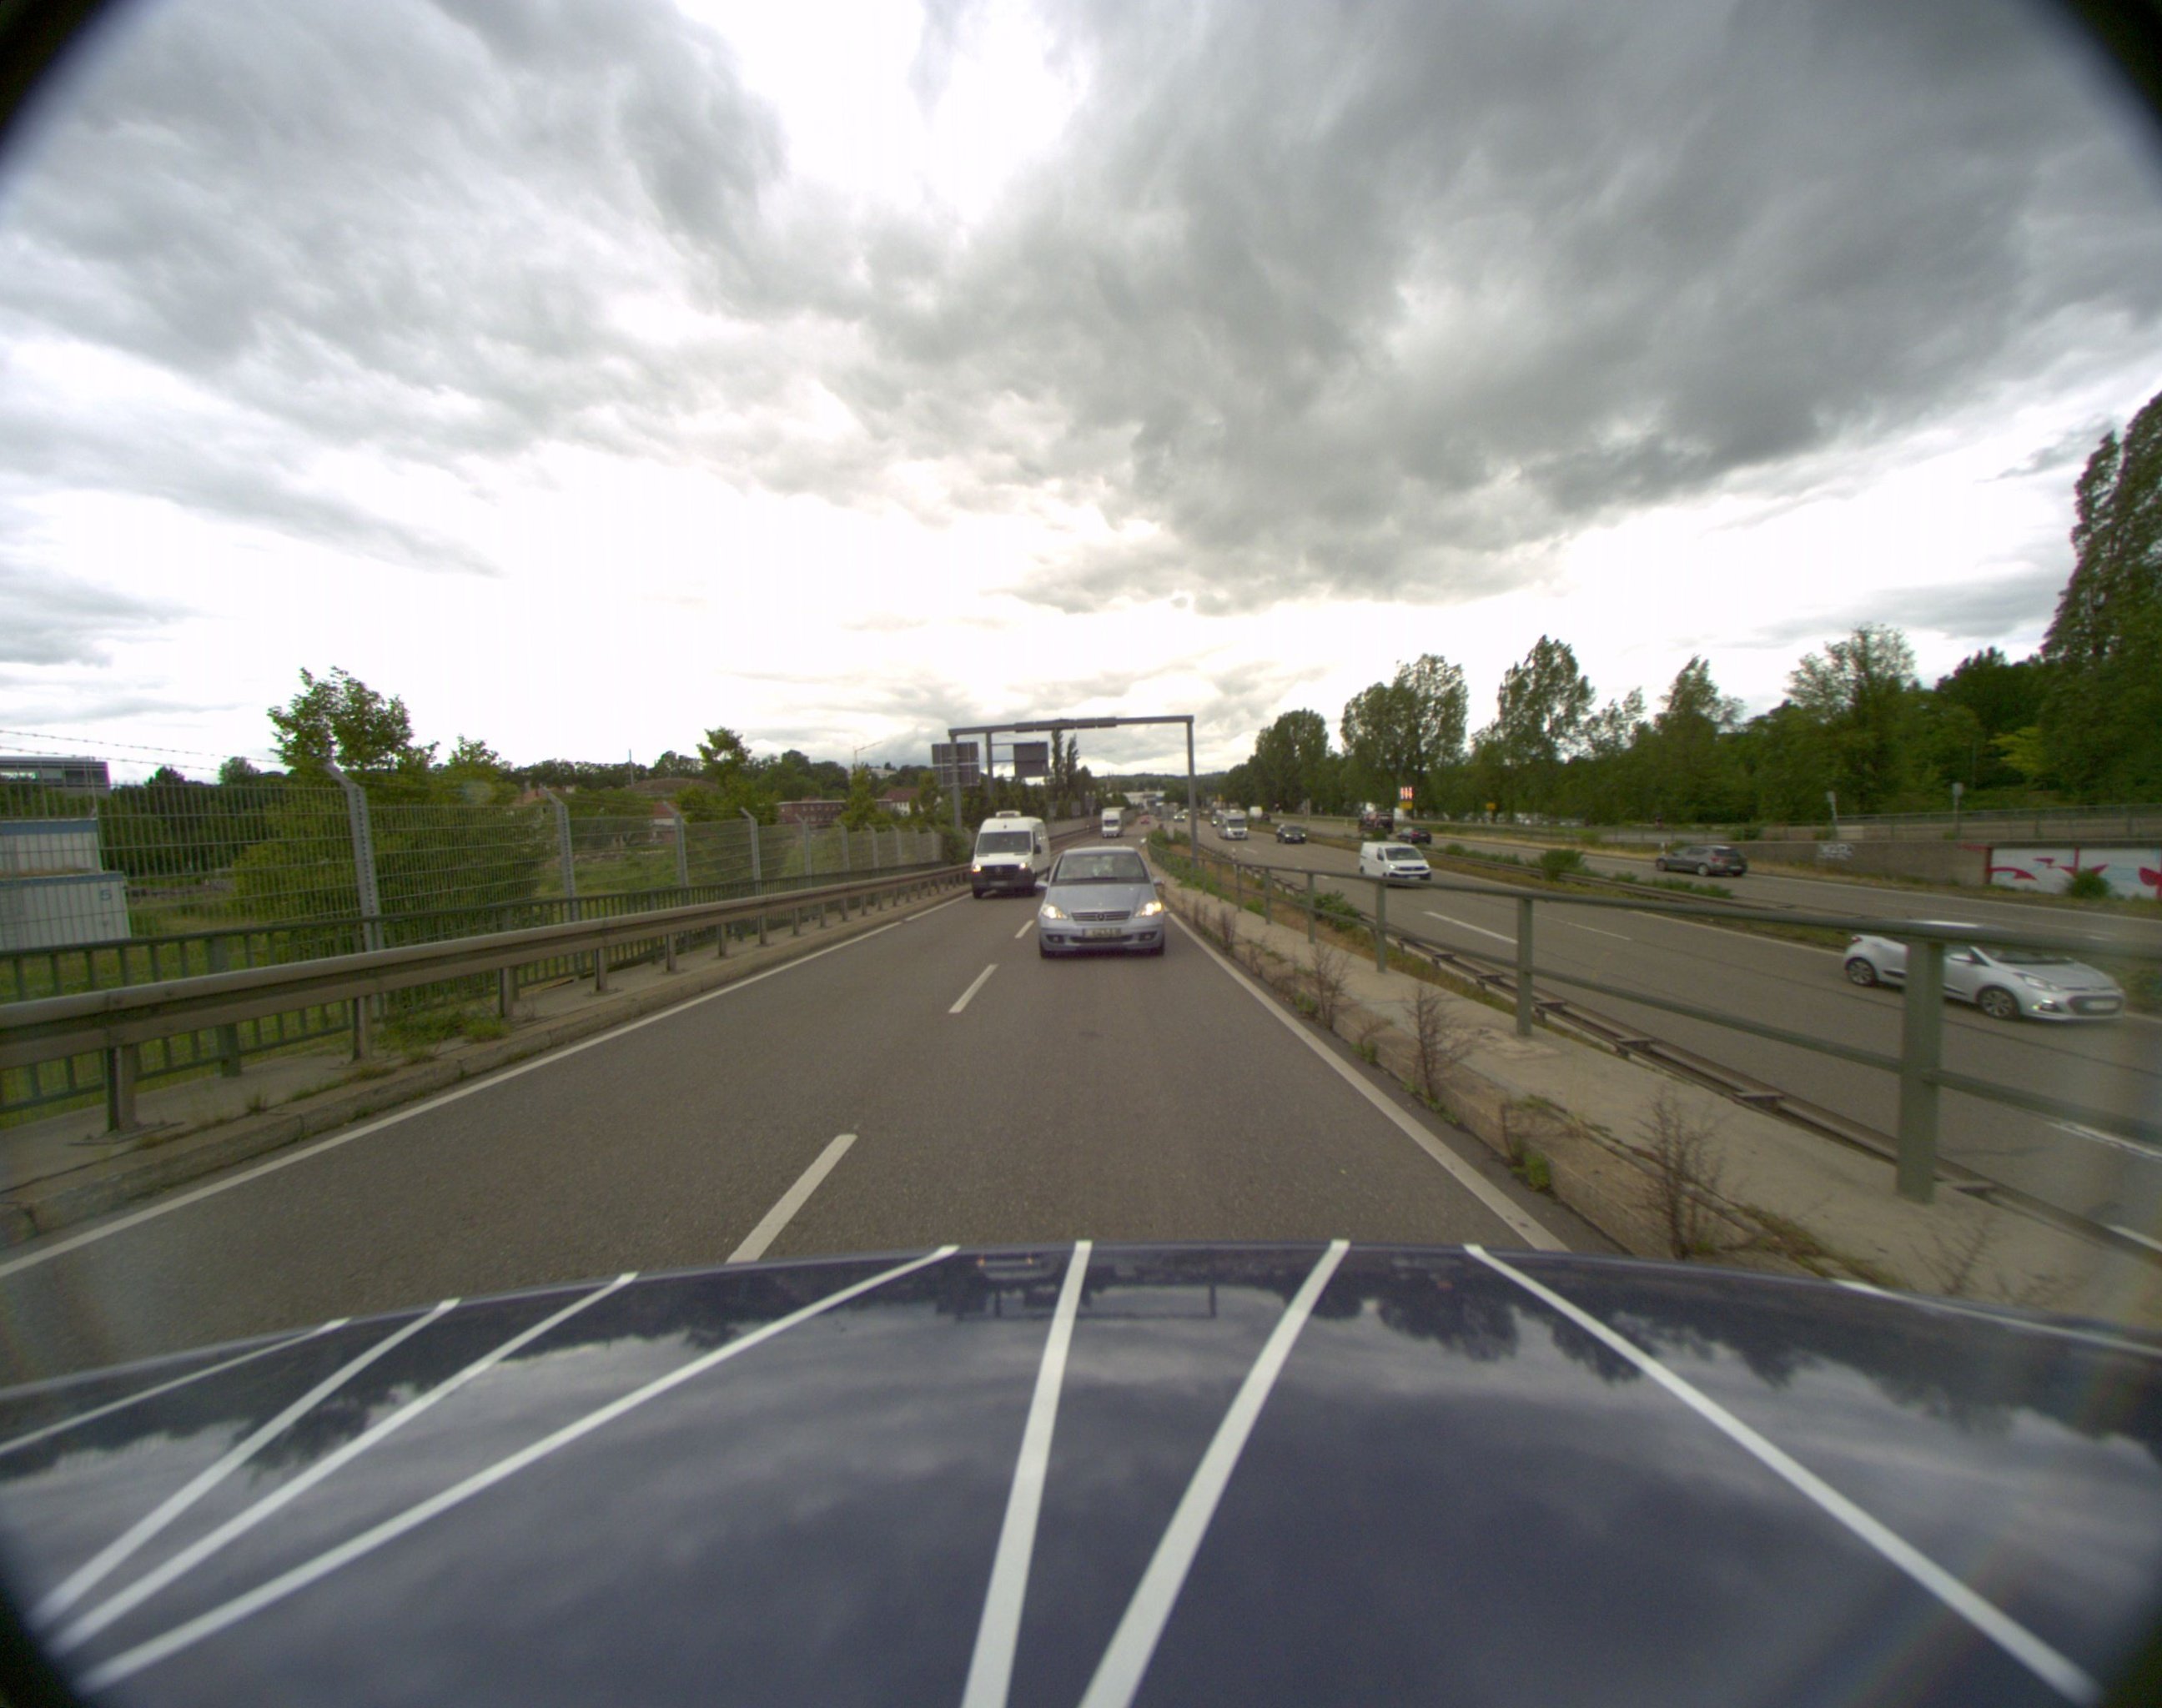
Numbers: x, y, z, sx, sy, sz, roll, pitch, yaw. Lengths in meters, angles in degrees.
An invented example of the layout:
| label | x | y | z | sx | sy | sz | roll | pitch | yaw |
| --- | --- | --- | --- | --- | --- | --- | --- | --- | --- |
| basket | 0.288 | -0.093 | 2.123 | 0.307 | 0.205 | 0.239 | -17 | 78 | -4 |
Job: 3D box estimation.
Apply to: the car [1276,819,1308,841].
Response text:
| label | x | y | z | sx | sy | sz | roll | pitch | yaw |
| --- | --- | --- | --- | --- | --- | --- | --- | --- | --- |
| car | 18.927 | -2.184 | 68.293 | 1.845 | 1.704 | 4.276 | -1 | 4 | 2 |

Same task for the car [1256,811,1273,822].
| label | x | y | z | sx | sy | sz | roll | pitch | yaw |
| --- | --- | --- | --- | --- | --- | --- | --- | --- | --- |
| car | 31.251 | -6.437 | 129.690 | 1.903 | 1.641 | 4.330 | -1 | 4 | 1 |

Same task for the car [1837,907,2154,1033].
| label | x | y | z | sx | sy | sz | roll | pitch | yaw |
| --- | --- | --- | --- | --- | --- | --- | --- | --- | --- |
| car | 17.062 | 2.064 | 14.506 | 1.560 | 1.545 | 3.680 | -2 | 4 | 0 |

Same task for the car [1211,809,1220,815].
| label | x | y | z | sx | sy | sz | roll | pitch | yaw |
| --- | --- | --- | --- | --- | --- | --- | --- | --- | --- |
| car | 39.238 | -12.312 | 222.113 | 1.903 | 1.641 | 3.929 | -2 | 4 | 1 |

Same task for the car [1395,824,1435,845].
| label | x | y | z | sx | sy | sz | roll | pitch | yaw |
| --- | --- | --- | --- | --- | --- | --- | --- | --- | --- |
| car | 27.807 | -1.629 | 63.339 | 1.668 | 1.493 | 3.855 | -1 | 5 | 1 |

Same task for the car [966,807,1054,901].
| label | x | y | z | sx | sy | sz | roll | pitch | yaw |
| --- | --- | --- | --- | --- | --- | --- | --- | --- | --- |
| car | -2.266 | -0.070 | 26.413 | 2.115 | 2.768 | 6.779 | -2 | 1 | 2 |

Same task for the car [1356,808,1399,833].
| label | x | y | z | sx | sy | sz | roll | pitch | yaw |
| --- | --- | --- | --- | --- | --- | --- | --- | --- | --- |
| car | 32.141 | -3.675 | 82.628 | 2.250 | 2.534 | 6.109 | -2 | 4 | 0 |

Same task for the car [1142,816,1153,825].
| label | x | y | z | sx | sy | sz | roll | pitch | yaw |
| --- | --- | --- | --- | --- | --- | --- | --- | --- | --- |
| car | 11.918 | -6.014 | 137.085 | 1.780 | 1.578 | 4.000 | -2 | 1 | 2 |

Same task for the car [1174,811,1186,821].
| label | x | y | z | sx | sy | sz | roll | pitch | yaw |
| --- | --- | --- | --- | --- | --- | --- | --- | --- | --- |
| car | 19.308 | -7.505 | 148.757 | 1.845 | 1.789 | 4.279 | -2 | 1 | 1 |

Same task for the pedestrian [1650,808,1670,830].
| label | x | y | z | sx | sy | sz | roll | pitch | yaw |
| --- | --- | --- | --- | --- | --- | --- | --- | --- | --- |
| pedestrian | 47.519 | -2.889 | 62.387 | 0.832 | 1.696 | 1.077 | -3 | 5 | 1 |

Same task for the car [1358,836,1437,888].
| label | x | y | z | sx | sy | sz | roll | pitch | yaw |
| --- | --- | --- | --- | --- | --- | --- | --- | --- | --- |
| car | 14.796 | 0.296 | 35.830 | 1.954 | 1.925 | 4.893 | -2 | 5 | 3 |

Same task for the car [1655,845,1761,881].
| label | x | y | z | sx | sy | sz | roll | pitch | yaw |
| --- | --- | --- | --- | --- | --- | --- | --- | --- | --- |
| car | 30.342 | 0.379 | 36.972 | 1.715 | 1.369 | 4.107 | -1 | 4 | 0 |

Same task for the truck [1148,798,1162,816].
| label | x | y | z | sx | sy | sz | roll | pitch | yaw |
| --- | --- | --- | --- | --- | --- | --- | --- | --- | --- |
| truck | 18.662 | -11.949 | 192.522 | 2.758 | 4.229 | 6.693 | -1 | 4 | 0 |

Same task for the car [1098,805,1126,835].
| label | x | y | z | sx | sy | sz | roll | pitch | yaw |
| --- | --- | --- | --- | --- | --- | --- | --- | --- | --- |
| car | 3.688 | -3.916 | 88.223 | 2.664 | 3.311 | 7.091 | -2 | 2 | 6 |

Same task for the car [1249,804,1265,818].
| label | x | y | z | sx | sy | sz | roll | pitch | yaw |
| --- | --- | --- | --- | --- | --- | --- | --- | --- | --- |
| car | 36.604 | -8.923 | 158.126 | 2.215 | 2.765 | 5.356 | -1 | 5 | 1 |

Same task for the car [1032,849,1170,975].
| label | x | y | z | sx | sy | sz | roll | pitch | yaw |
| --- | --- | --- | --- | --- | --- | --- | --- | --- | --- |
| car | 0.288 | 0.760 | 12.119 | 1.781 | 1.578 | 3.999 | -2 | 1 | 0 |

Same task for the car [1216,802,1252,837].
| label | x | y | z | sx | sy | sz | roll | pitch | yaw |
| --- | --- | --- | --- | --- | --- | --- | --- | --- | --- |
| car | 15.464 | -3.546 | 77.211 | 2.367 | 3.224 | 7.655 | -2 | 4 | 3 |
